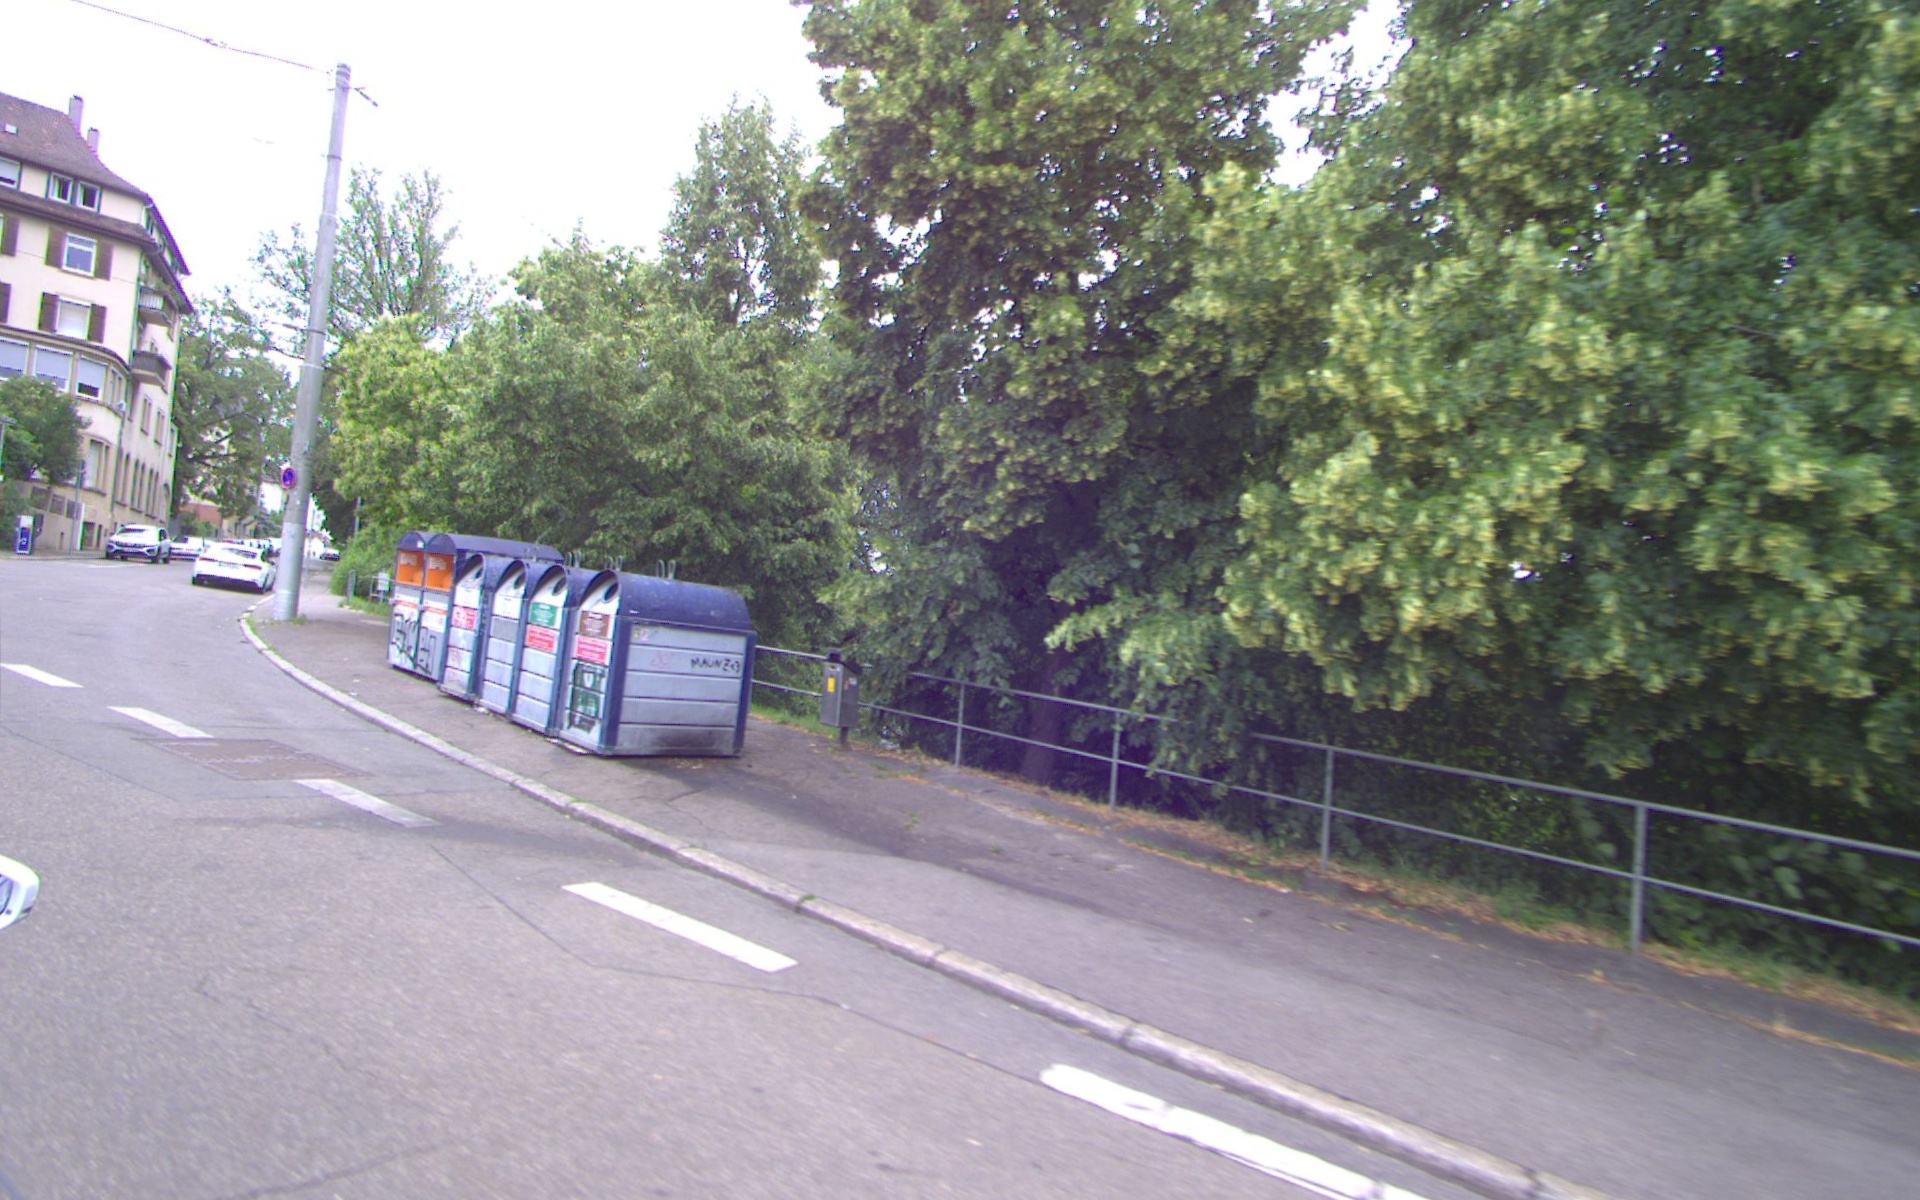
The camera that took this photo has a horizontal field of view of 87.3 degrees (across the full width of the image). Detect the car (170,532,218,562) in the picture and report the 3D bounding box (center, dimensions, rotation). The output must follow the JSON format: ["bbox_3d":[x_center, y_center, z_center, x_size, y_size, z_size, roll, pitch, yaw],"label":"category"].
[{"bbox_3d":[-46.409,-3.188,60.999,1.731,1.559,3.759,6,-1,-30],"label":"car"}]

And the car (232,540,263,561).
[{"bbox_3d":[-60.954,-4.225,86.096,1.731,1.559,3.759,6,-1,-30],"label":"car"}]

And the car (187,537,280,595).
[{"bbox_3d":[-23.069,-1.099,32.114,1.883,1.395,4.563,11,-3,-31],"label":"car"}]

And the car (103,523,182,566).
[{"bbox_3d":[-35.787,-2.385,44.152,1.826,1.552,4.473,7,-2,-29],"label":"car"}]

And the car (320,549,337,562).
[{"bbox_3d":[-86.948,-6.085,138.581,1.731,1.559,3.759,6,-1,-30],"label":"car"}]

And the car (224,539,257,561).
[{"bbox_3d":[-58.591,-4.076,81.962,1.731,1.559,3.759,6,-1,-30],"label":"car"}]

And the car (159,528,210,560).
[{"bbox_3d":[-44.043,-3.145,57.195,1.731,1.559,3.759,6,-1,-30],"label":"car"}]

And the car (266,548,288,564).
[{"bbox_3d":[-77.412,-5.017,114.013,1.731,1.559,3.759,6,-1,-30],"label":"car"}]
